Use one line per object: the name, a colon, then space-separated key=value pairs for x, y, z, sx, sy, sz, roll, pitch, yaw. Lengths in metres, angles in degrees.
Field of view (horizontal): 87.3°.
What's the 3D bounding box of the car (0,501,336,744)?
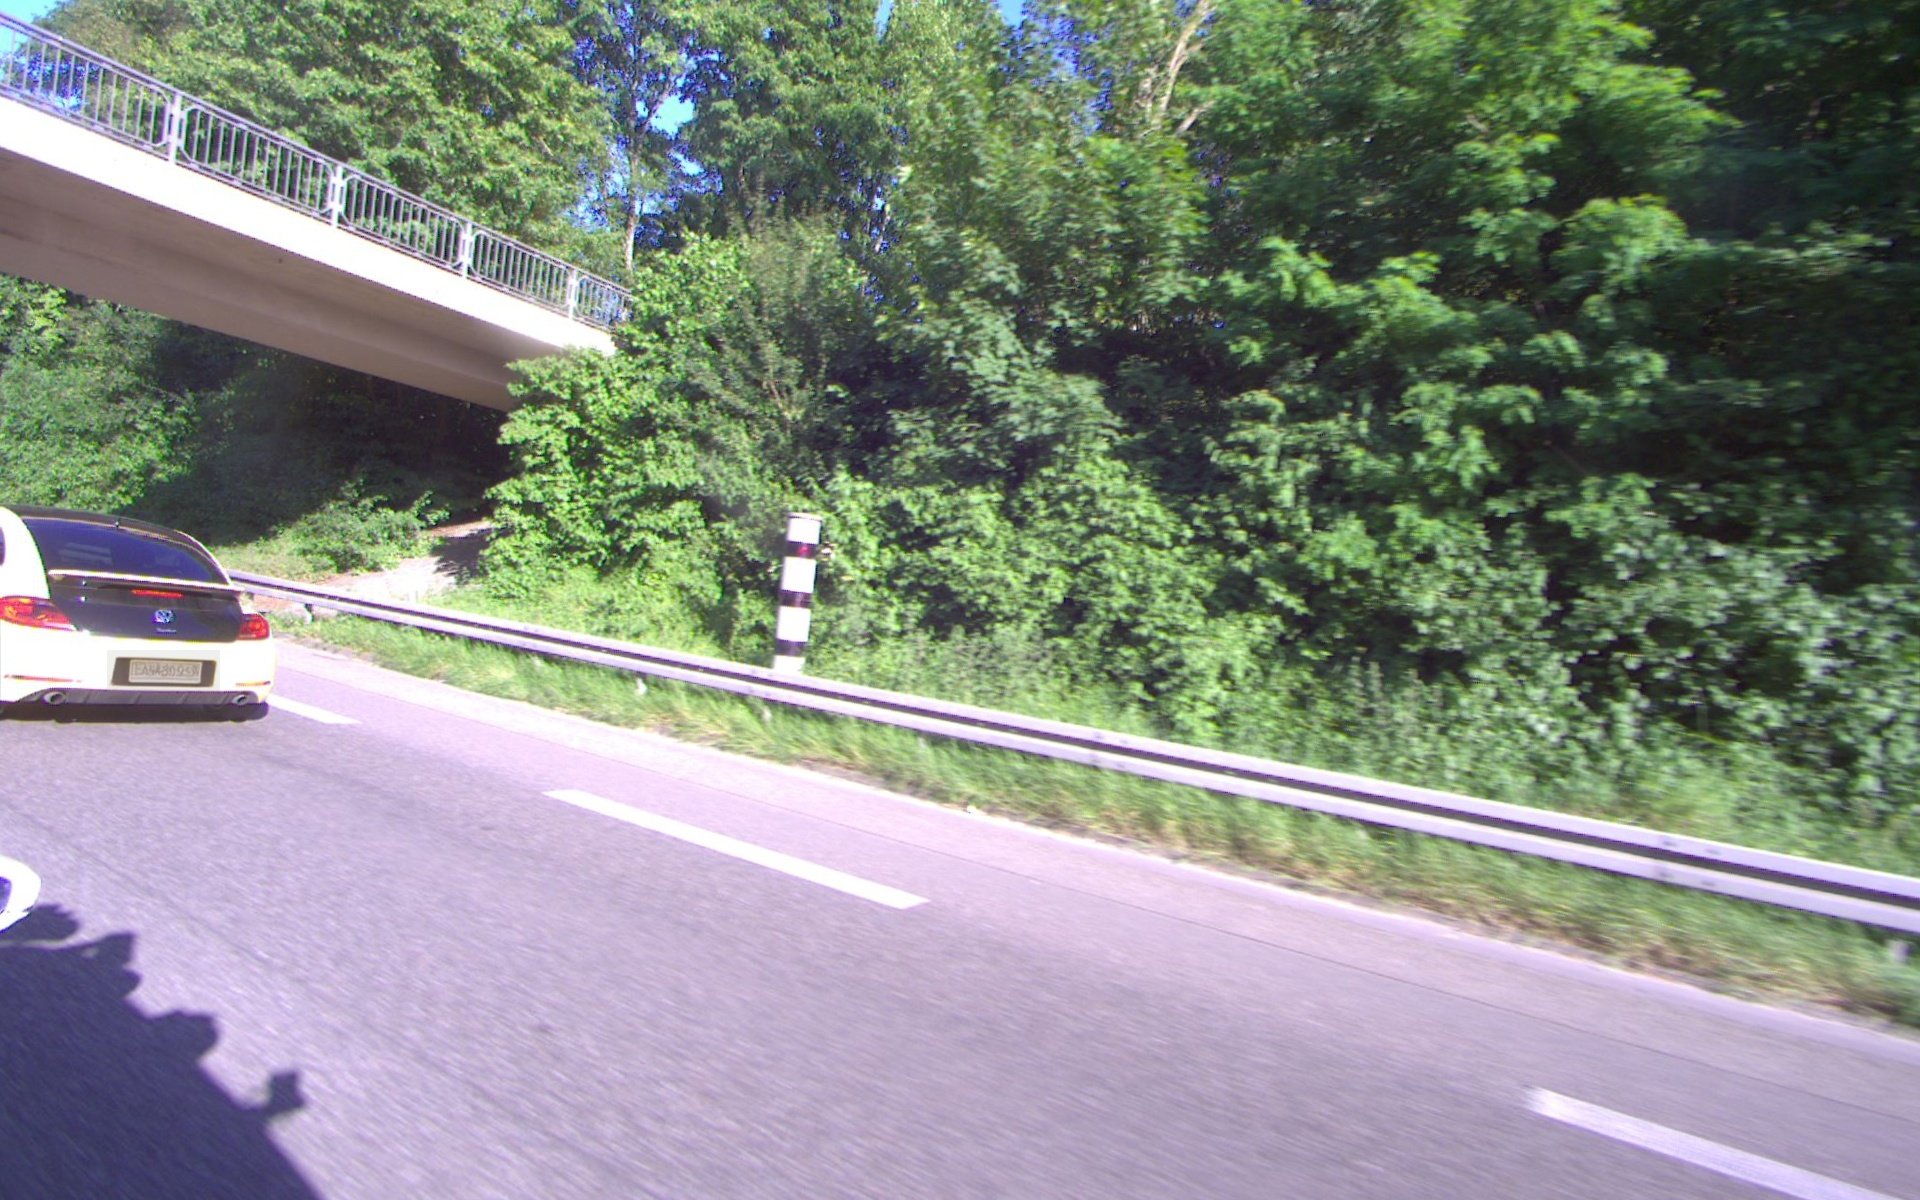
car: x=-7.211 y=0.015 z=8.039 sx=4.282 sy=1.479 sz=1.884 roll=7 pitch=-1 yaw=30
